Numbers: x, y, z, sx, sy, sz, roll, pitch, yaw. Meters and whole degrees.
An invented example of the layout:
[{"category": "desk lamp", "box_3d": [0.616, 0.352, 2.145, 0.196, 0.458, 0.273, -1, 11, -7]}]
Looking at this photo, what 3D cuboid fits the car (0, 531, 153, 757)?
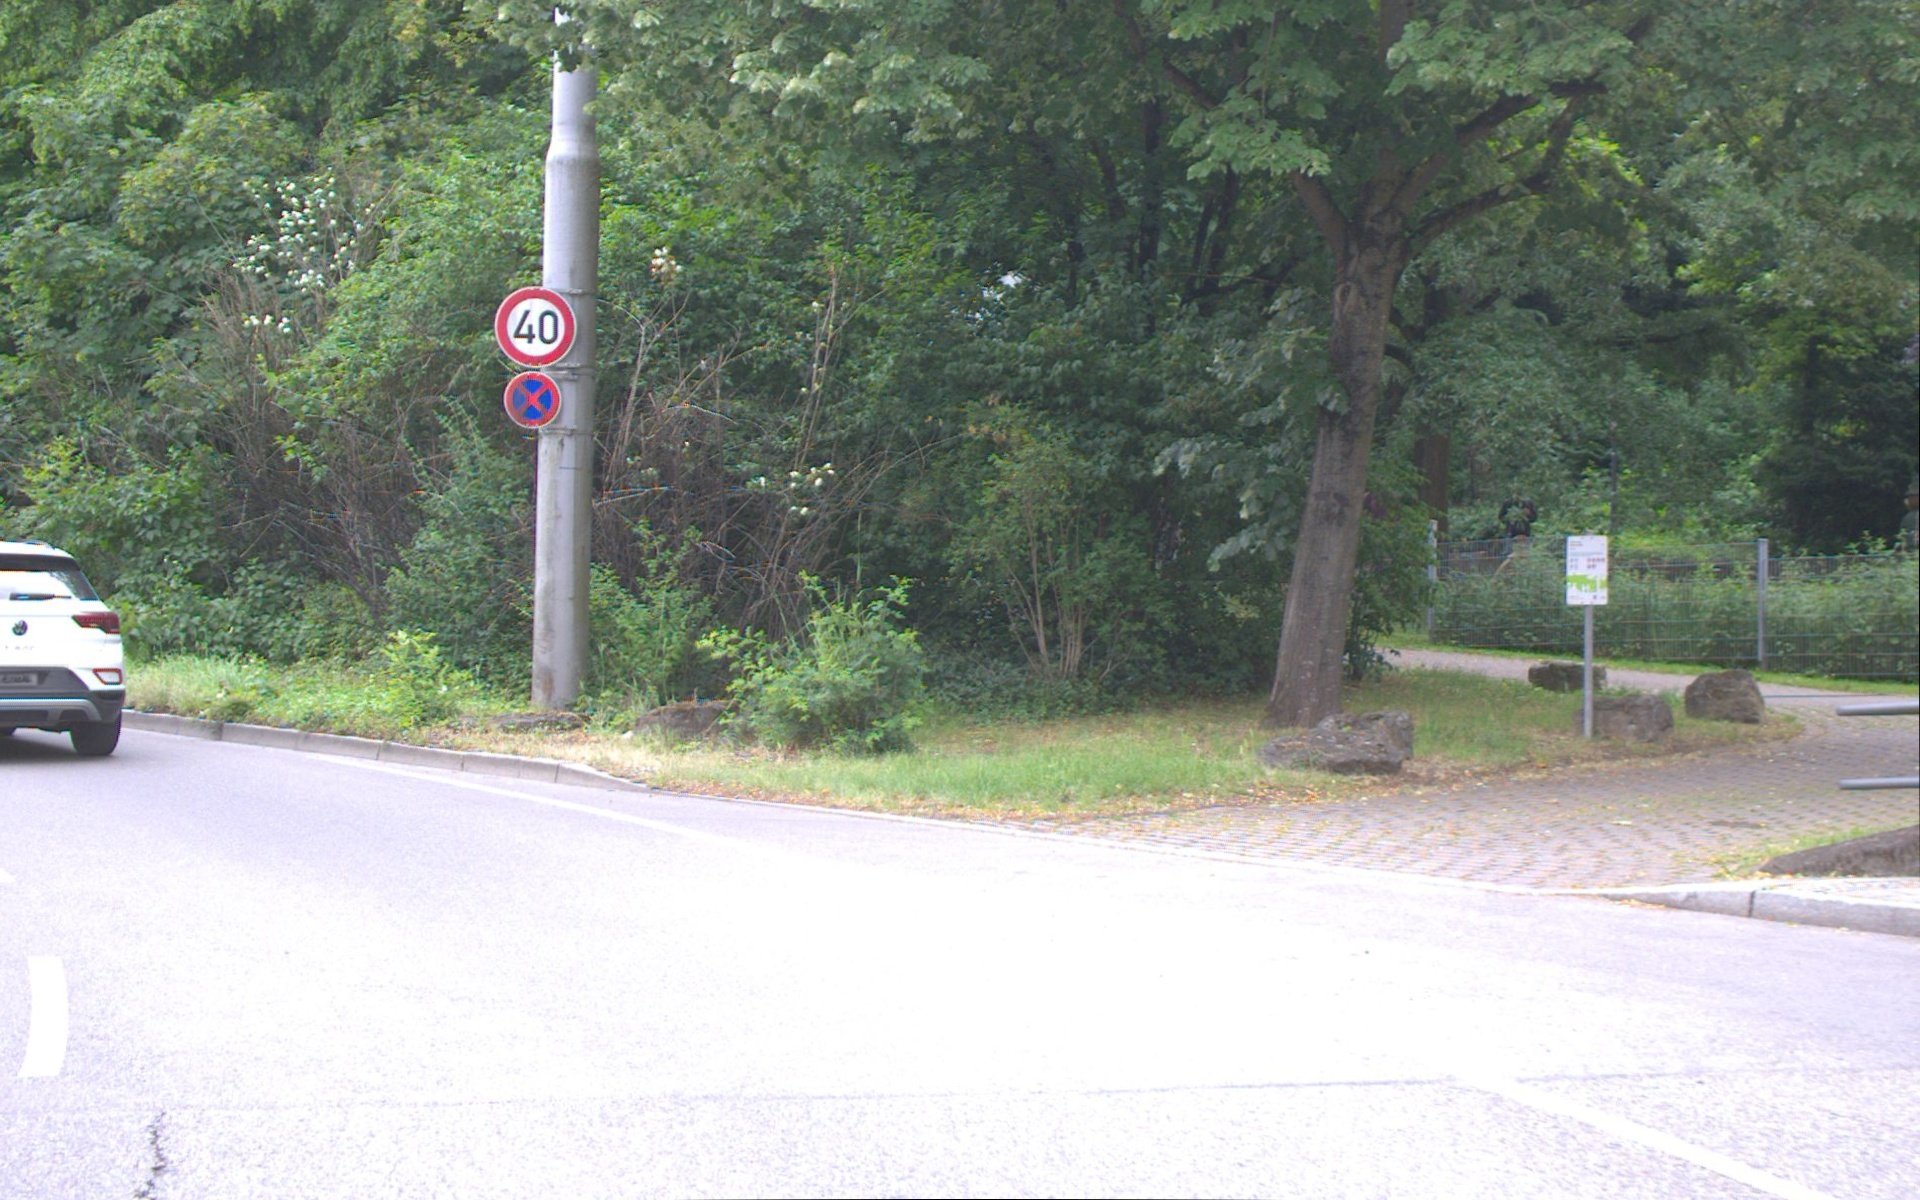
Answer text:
[{"category": "car", "box_3d": [-7.480, 0.261, 25.350, 1.864, 1.551, 3.895, 1, 1, -31]}]
